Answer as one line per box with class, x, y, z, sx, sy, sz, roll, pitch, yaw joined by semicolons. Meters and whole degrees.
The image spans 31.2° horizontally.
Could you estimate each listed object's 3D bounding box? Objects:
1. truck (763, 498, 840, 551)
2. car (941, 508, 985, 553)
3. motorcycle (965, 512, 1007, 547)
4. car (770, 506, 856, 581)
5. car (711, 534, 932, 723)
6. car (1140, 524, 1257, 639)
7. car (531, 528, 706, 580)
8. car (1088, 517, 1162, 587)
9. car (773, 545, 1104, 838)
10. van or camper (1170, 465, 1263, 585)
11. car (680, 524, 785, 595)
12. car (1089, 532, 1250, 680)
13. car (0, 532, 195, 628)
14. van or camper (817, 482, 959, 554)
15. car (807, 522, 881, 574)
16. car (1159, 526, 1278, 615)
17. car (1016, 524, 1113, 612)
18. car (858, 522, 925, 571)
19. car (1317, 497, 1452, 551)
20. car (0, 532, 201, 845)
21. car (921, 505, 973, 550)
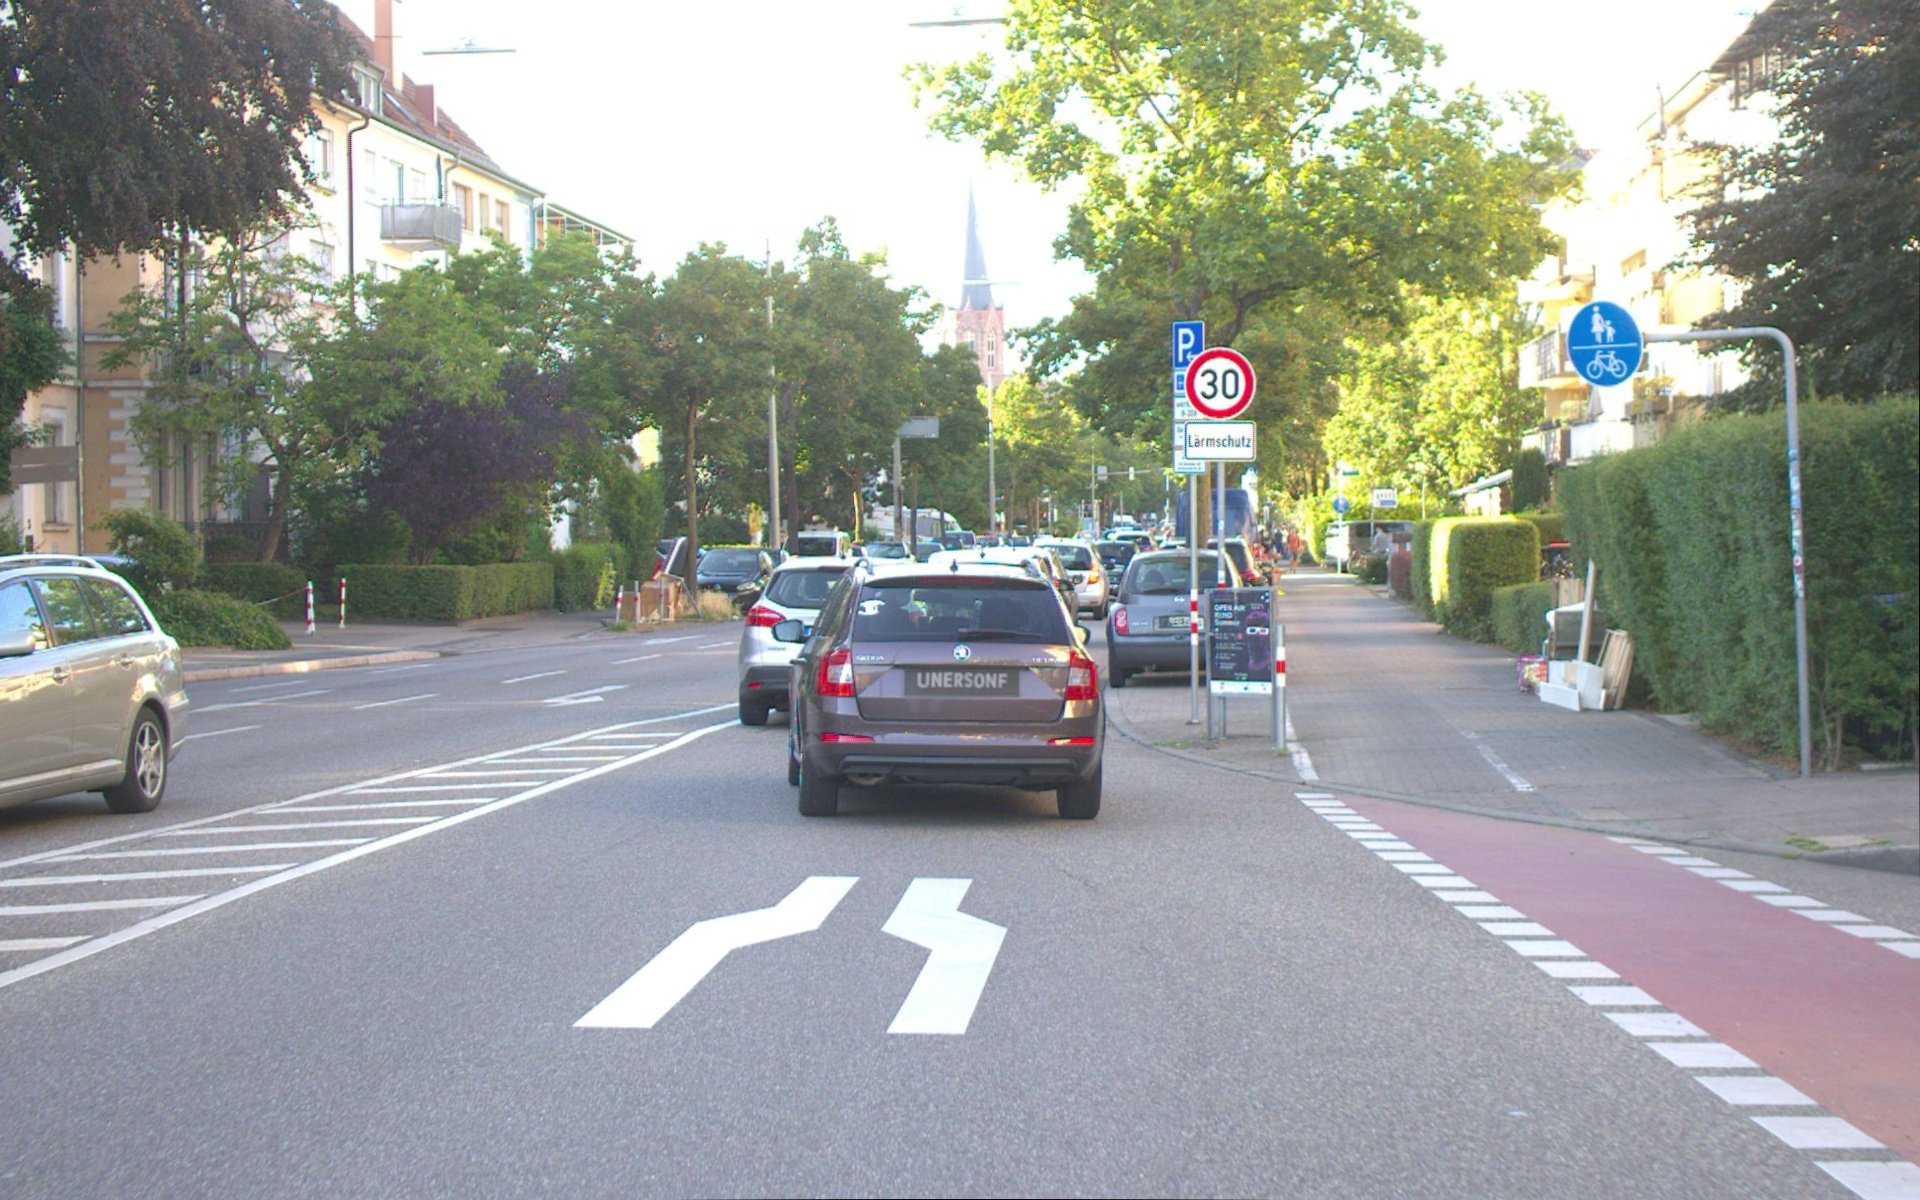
truck;-6.360;-3.043;138.412;2.914;2.086;1.546;0;2;4
car;0.124;-2.860;141.081;1.507;1.751;3.693;0;2;4
motorcycle;1.131;-3.105;151.388;0.764;1.506;2.030;-2;2;-38
car;-3.947;-1.546;92.829;1.770;1.912;4.459;0;2;5
car;-1.167;0.199;30.537;1.729;1.488;3.951;0;2;1
car;3.715;-0.321;53.214;1.732;1.645;4.291;0;2;5
car;-9.421;-1.280;94.761;4.709;1.358;2.001;-1;2;-8
car;4.164;-1.221;86.171;1.732;1.645;3.541;0;2;5
car;-0.220;0.461;20.562;1.729;1.488;3.952;-1;2;-4
van or camper;6.006;-1.737;80.104;2.068;2.666;5.989;0;1;5
car;-5.089;-0.929;77.346;1.750;1.497;4.196;0;2;5
car;2.427;0.027;39.262;1.732;1.545;3.646;0;2;5
car;-14.477;-0.337;56.219;3.497;1.481;1.816;0;2;1
van or camper;-3.925;-4.503;188.110;7.641;3.861;2.000;0;2;3
car;-3.352;-1.527;100.204;1.717;1.416;3.786;0;2;5
car;4.713;-0.571;63.181;1.920;1.481;4.746;0;2;1
car;2.085;-0.658;68.087;1.732;1.645;3.541;0;2;5
car;-2.201;-1.754;111.634;1.717;1.492;4.247;0;2;5
car;15.433;-2.783;124.976;4.532;1.886;1.915;-1;2;-23
car;-5.637;0.436;18.368;1.828;1.509;4.604;0;2;4
car;-0.518;-2.886;136.450;1.750;1.734;3.590;0;2;5
